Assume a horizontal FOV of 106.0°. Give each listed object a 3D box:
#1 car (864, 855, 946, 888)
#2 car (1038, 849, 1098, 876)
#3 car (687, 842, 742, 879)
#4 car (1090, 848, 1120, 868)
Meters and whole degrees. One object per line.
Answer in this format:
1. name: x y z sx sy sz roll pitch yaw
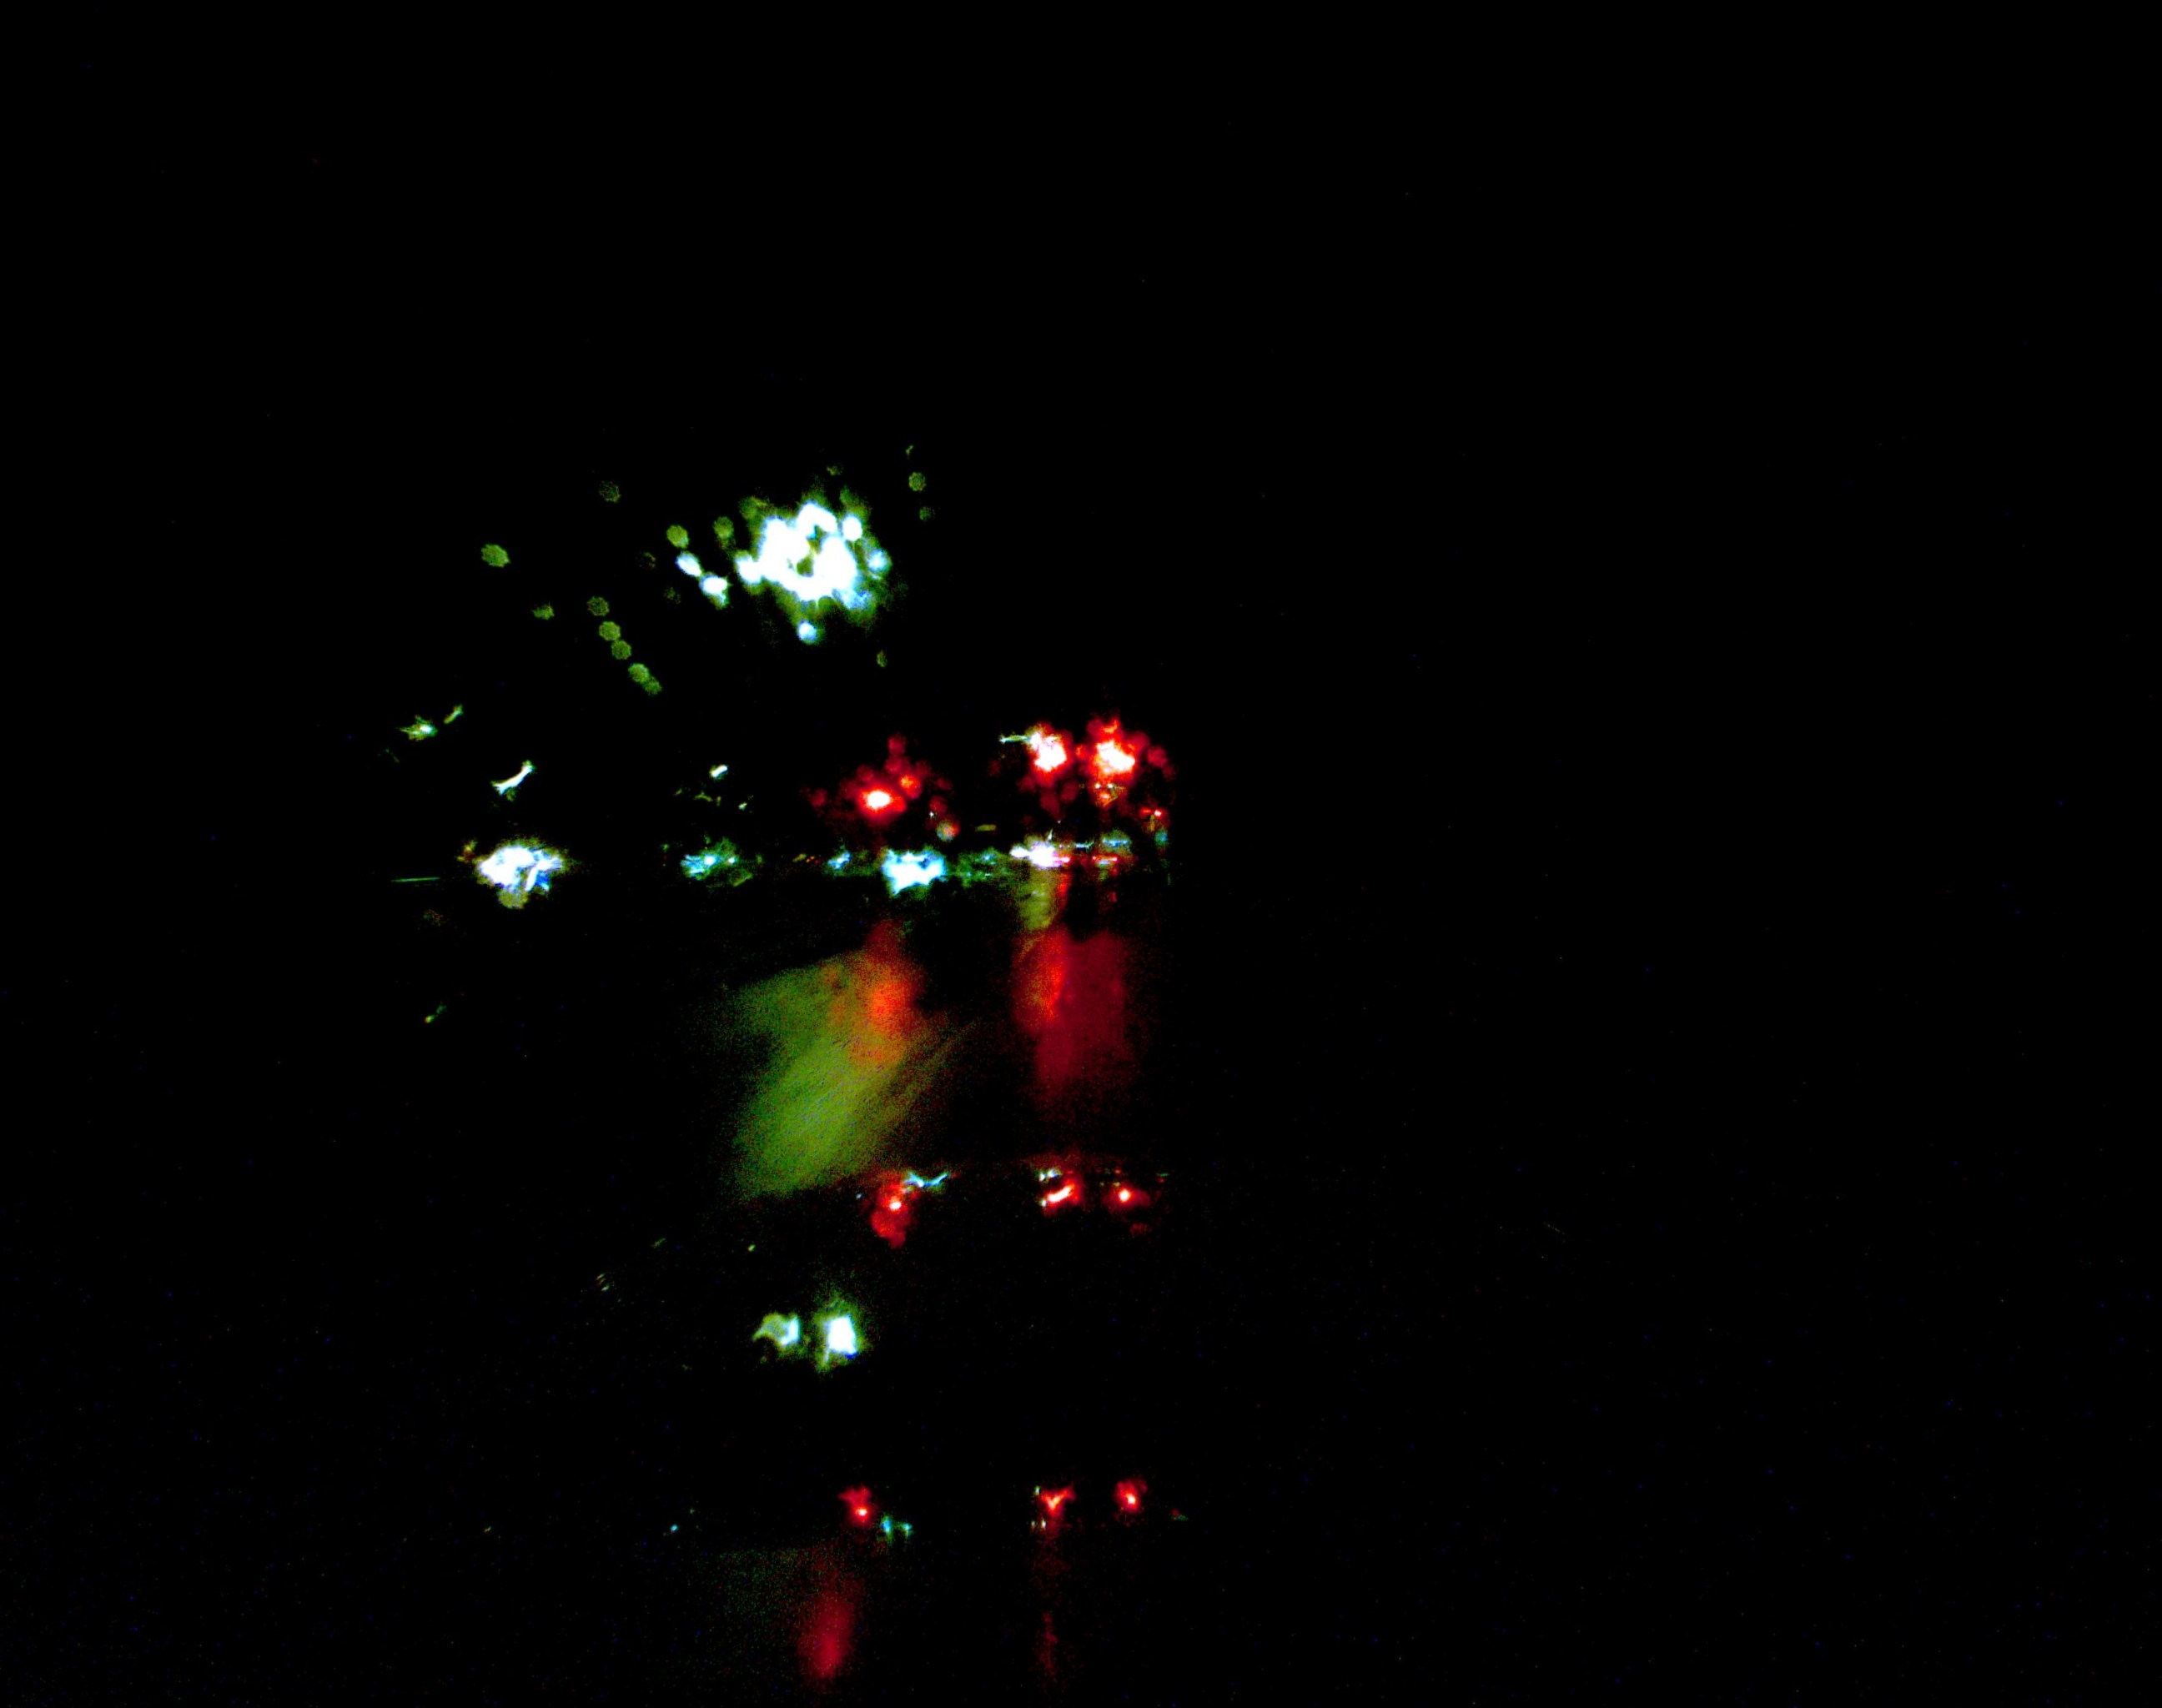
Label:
1. car: -9.445 0.908 43.899 3.978 1.662 1.998 -1 0 -3
2. car: -0.817 0.517 52.370 1.974 1.662 4.025 -1 0 31
3. car: -20.809 0.360 46.205 2.009 2.013 3.955 -1 0 -37
4. car: 1.830 0.289 60.947 1.952 1.428 3.939 -1 0 6
